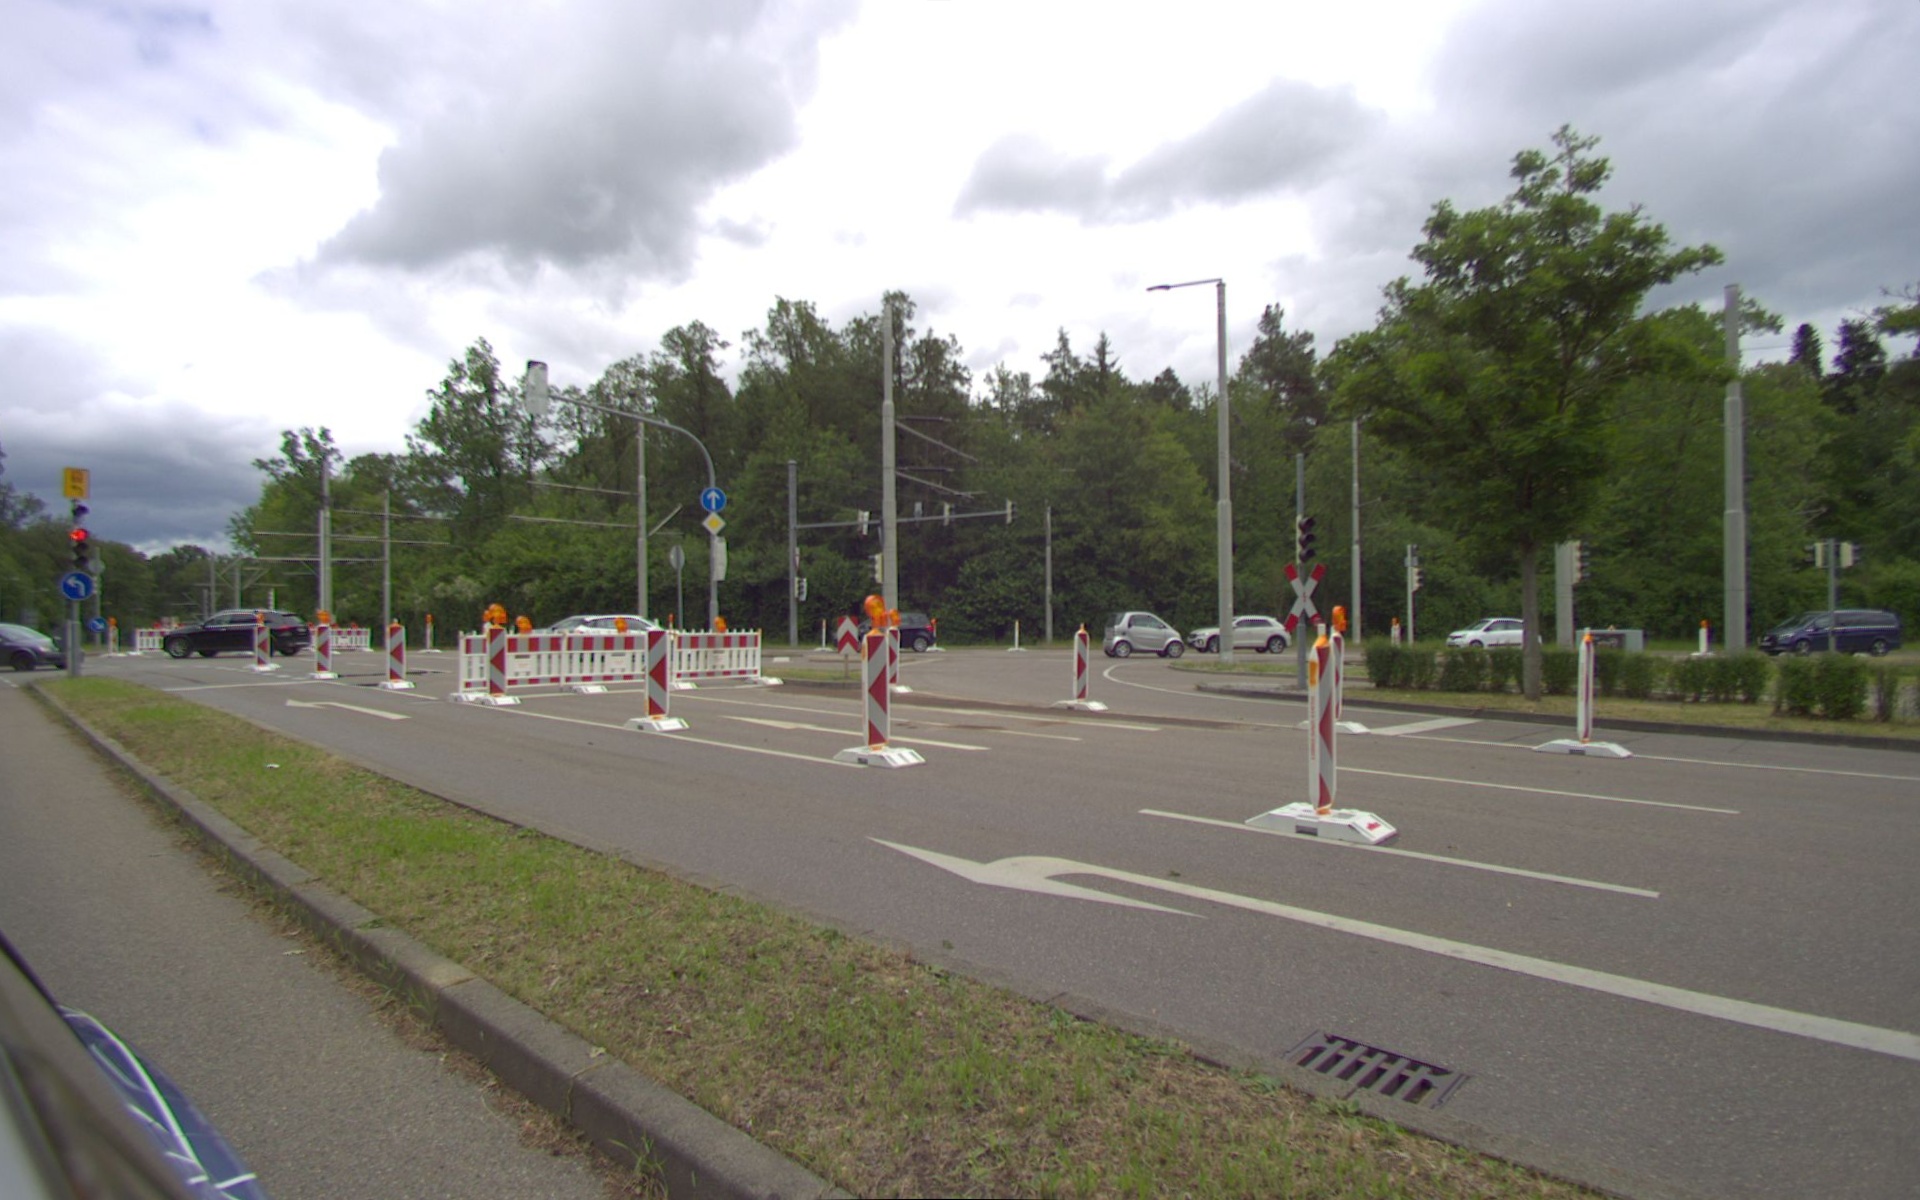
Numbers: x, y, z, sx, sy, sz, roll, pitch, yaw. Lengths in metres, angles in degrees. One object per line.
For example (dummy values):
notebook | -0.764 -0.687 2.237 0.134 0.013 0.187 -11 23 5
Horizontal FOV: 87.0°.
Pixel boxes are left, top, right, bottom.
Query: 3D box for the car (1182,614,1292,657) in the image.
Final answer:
car | 11.526 1.451 42.198 3.986 1.665 1.861 -1 0 -5

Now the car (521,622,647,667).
car | -14.764 1.718 39.961 4.378 1.607 1.885 -1 0 -11

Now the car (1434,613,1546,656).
car | 22.554 1.456 43.131 3.739 1.735 1.859 -1 0 0

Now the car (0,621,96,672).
car | -29.104 1.403 30.583 4.323 1.447 1.799 -1 0 -6

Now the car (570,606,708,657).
car | -10.147 0.976 32.199 3.937 1.499 1.772 -1 0 -8

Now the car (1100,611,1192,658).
car | 6.189 1.143 33.883 2.702 1.486 1.501 -1 0 -5

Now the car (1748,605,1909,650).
car | 36.698 1.157 42.890 4.777 1.829 1.995 -1 0 8

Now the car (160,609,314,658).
car | -27.549 1.264 38.693 4.403 1.741 2.003 -1 0 -7

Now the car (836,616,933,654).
car | -3.023 1.409 40.785 3.784 1.347 1.665 -1 3 -3
